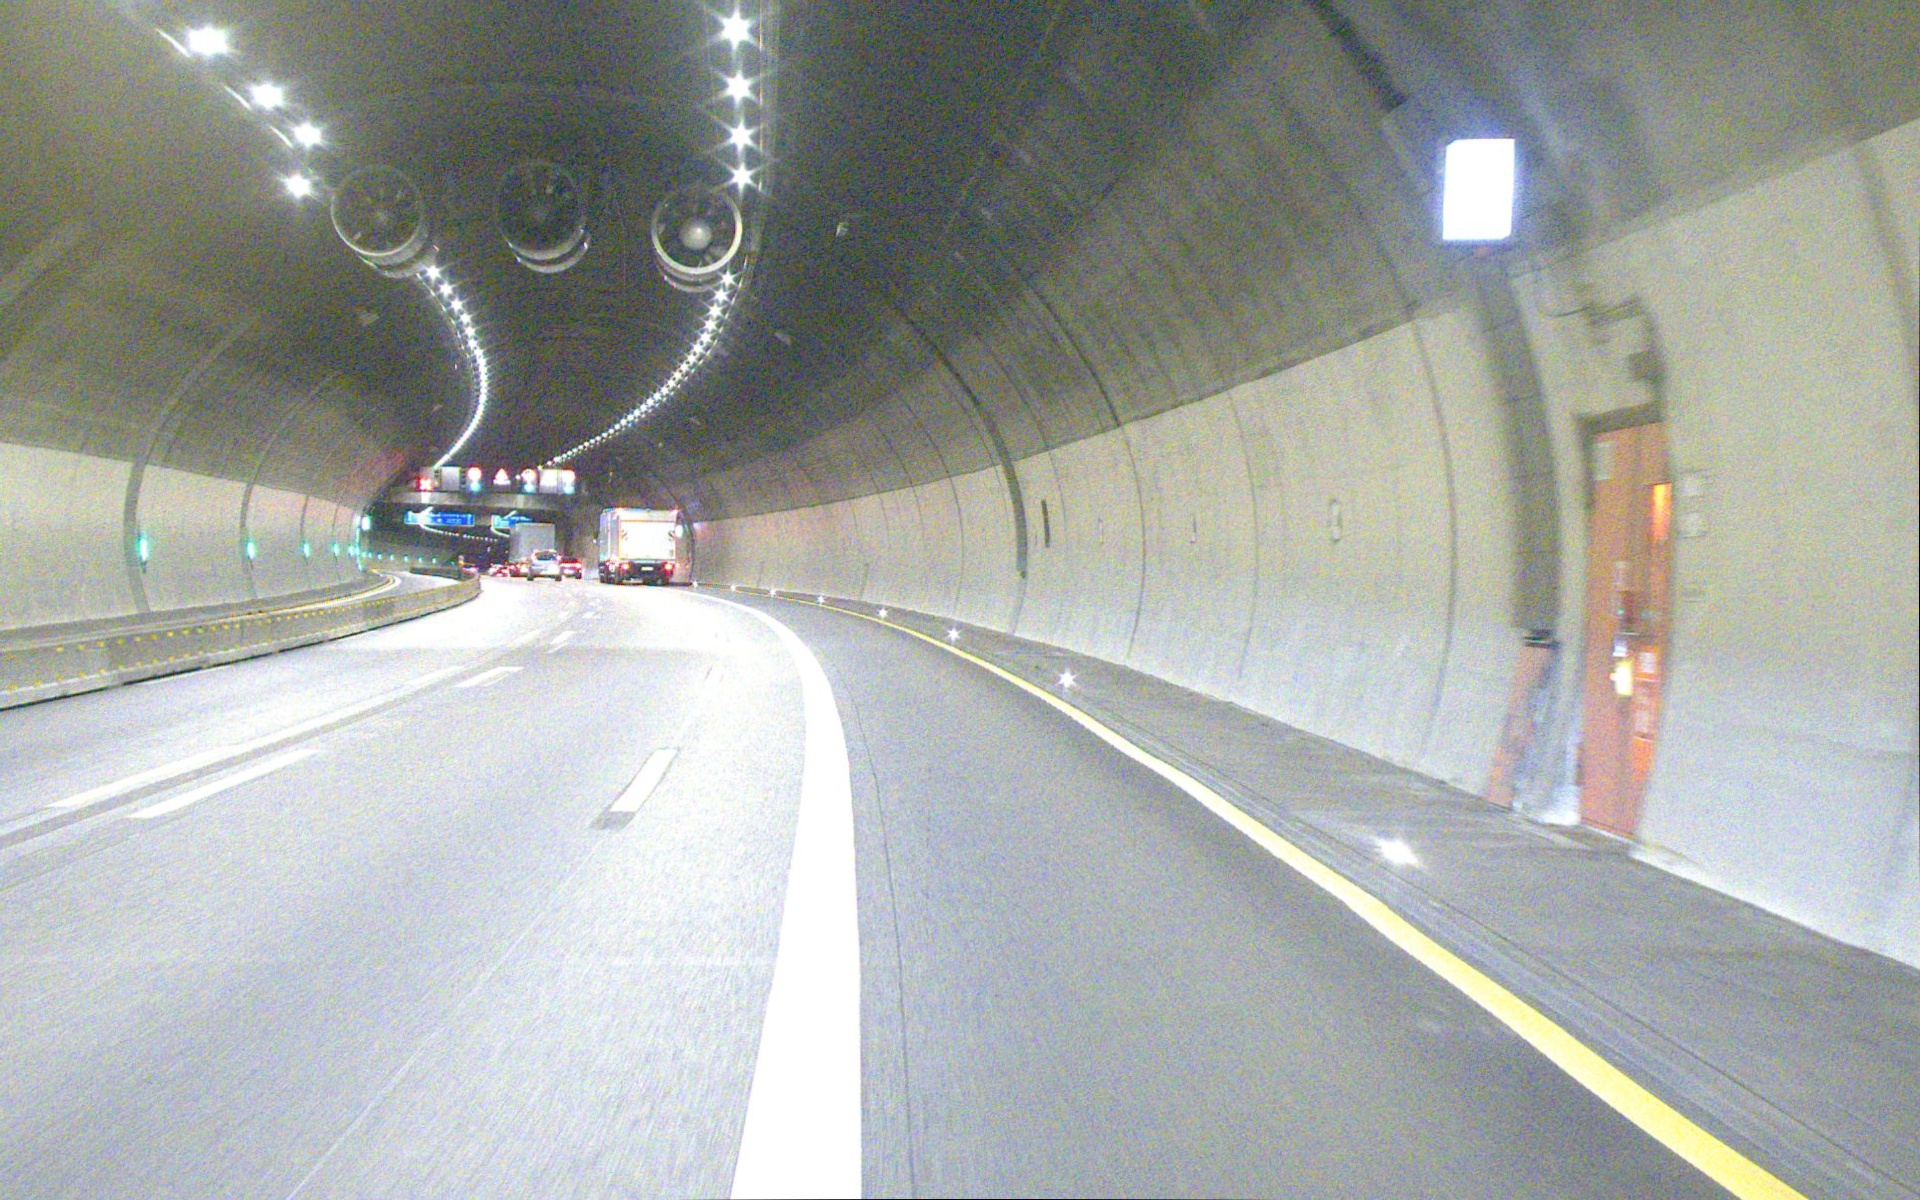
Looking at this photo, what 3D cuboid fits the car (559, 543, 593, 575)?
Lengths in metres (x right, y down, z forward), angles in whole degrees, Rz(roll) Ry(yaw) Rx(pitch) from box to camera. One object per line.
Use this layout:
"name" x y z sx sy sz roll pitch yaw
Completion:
"car" -24.140 -2.579 215.983 1.993 2.007 4.001 0 1 -8

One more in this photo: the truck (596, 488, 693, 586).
"truck" -14.561 -2.895 157.926 3.473 4.301 10.955 0 1 -10

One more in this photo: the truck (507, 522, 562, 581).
"truck" -31.700 -3.593 255.607 3.473 4.301 10.955 -1 1 -10

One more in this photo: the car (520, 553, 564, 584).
"car" -21.727 -1.634 178.475 1.993 1.576 4.001 1 1 -11
